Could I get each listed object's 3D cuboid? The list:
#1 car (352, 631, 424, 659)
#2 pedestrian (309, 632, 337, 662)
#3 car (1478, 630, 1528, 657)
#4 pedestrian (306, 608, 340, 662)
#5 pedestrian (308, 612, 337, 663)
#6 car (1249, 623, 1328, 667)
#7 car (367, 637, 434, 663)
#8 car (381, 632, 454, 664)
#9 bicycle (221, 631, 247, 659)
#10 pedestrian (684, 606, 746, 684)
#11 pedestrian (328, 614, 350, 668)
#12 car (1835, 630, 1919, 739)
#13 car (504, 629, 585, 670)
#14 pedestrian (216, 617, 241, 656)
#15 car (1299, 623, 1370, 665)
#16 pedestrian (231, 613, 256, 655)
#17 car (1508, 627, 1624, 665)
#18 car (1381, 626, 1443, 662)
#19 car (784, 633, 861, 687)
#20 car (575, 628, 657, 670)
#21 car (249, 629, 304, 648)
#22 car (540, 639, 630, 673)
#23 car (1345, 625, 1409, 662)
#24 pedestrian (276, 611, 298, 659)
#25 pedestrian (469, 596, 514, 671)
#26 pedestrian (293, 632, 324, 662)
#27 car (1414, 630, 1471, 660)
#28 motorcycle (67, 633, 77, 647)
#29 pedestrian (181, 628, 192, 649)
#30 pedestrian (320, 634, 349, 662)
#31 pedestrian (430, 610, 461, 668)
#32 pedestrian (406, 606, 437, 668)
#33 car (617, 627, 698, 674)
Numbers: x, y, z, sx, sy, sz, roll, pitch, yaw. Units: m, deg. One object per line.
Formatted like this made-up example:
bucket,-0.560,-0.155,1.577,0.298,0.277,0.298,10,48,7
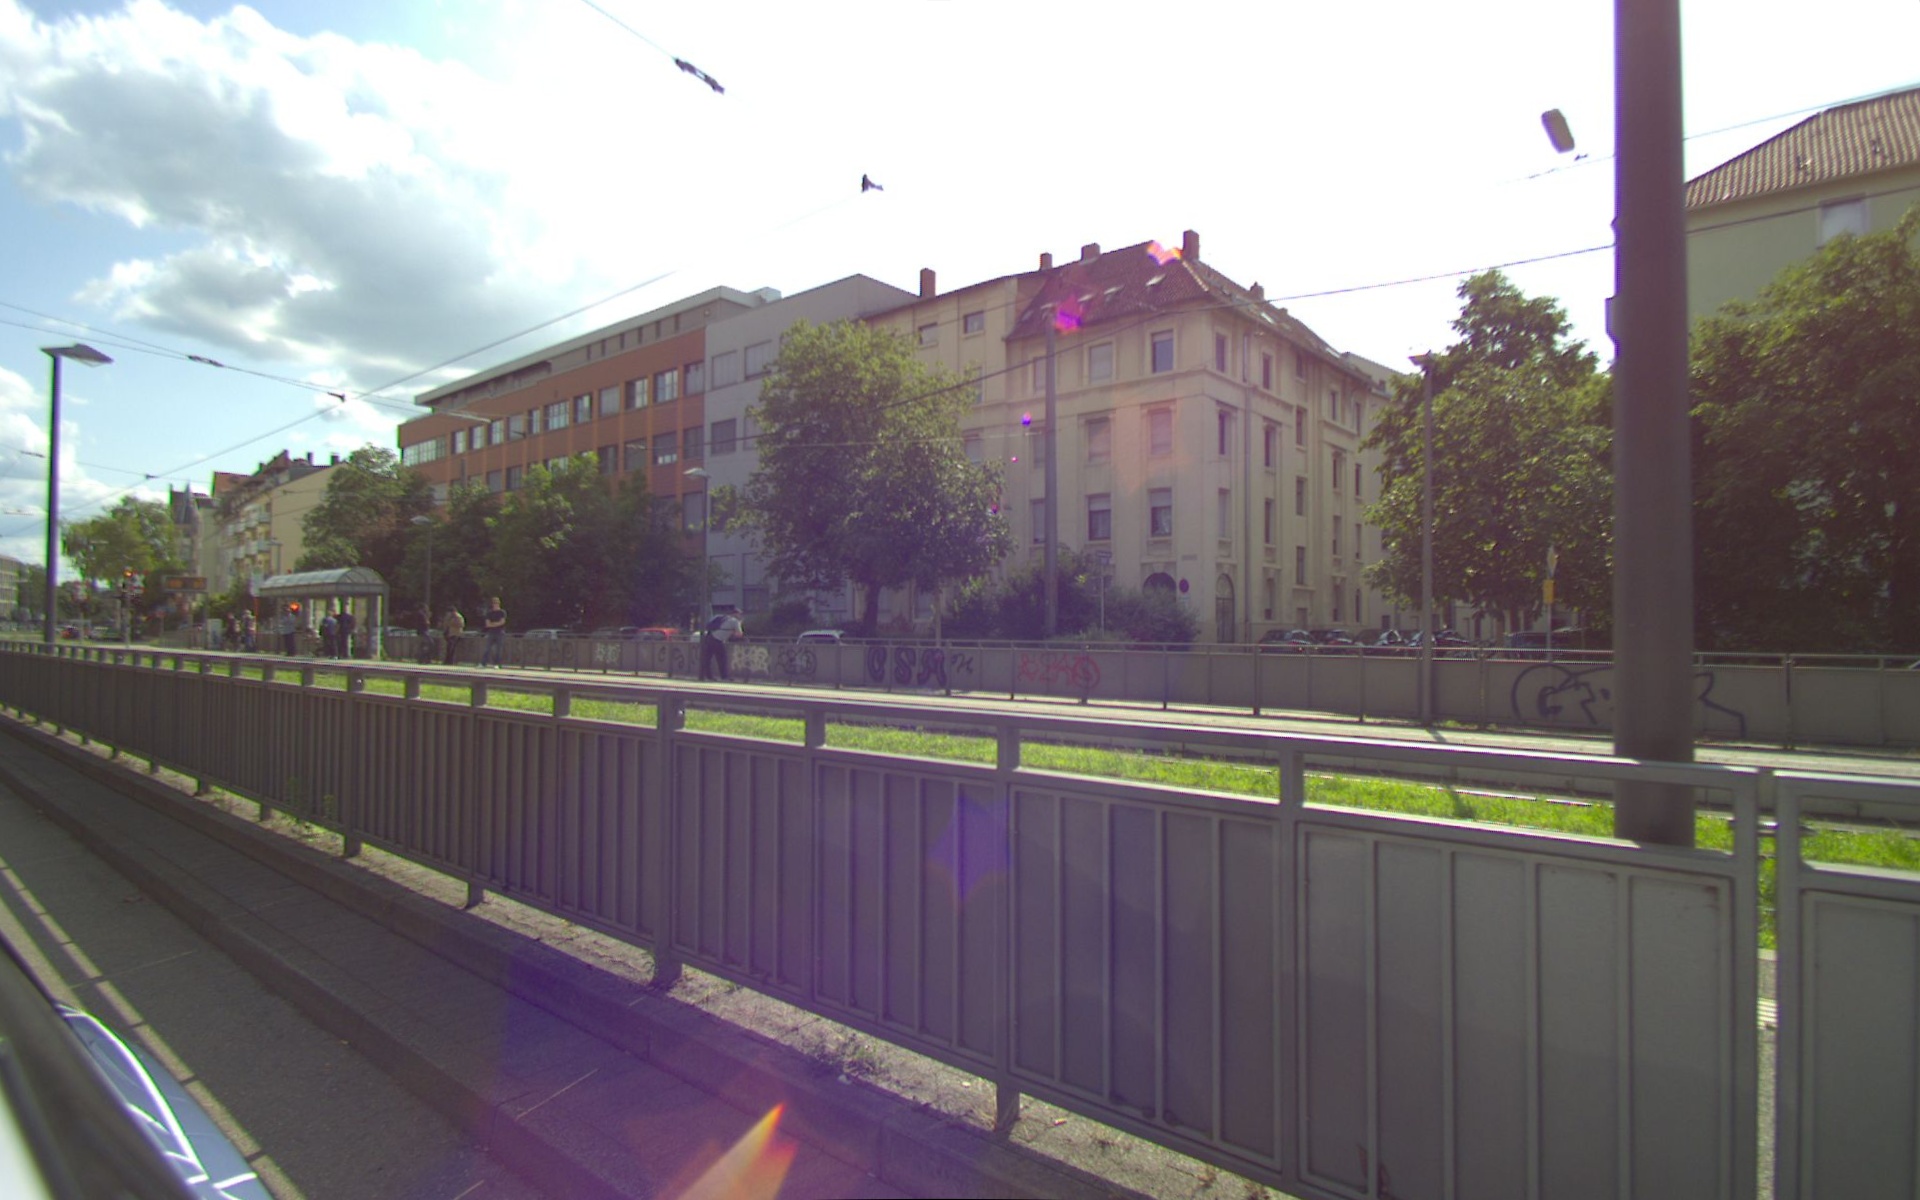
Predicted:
car,-31.902,2.518,56.554,1.629,1.508,3.996,0,-2,3
pedestrian,-23.217,1.714,36.866,0.562,1.039,0.647,4,-1,38
car,35.017,2.796,65.212,1.825,1.639,3.941,-1,-3,45
pedestrian,-21.204,1.162,33.687,1.035,1.756,0.626,-1,-2,38
pedestrian,-20.949,1.224,33.272,0.556,1.645,0.593,-1,-3,26
car,13.812,1.882,42.432,1.823,1.746,3.946,-1,-3,40
car,-29.609,2.620,53.682,1.583,1.314,3.247,0,-2,5
car,-27.499,2.413,51.422,1.567,1.431,3.302,-1,0,10
bicycle,-30.073,1.841,41.890,0.653,1.122,1.880,4,-4,-41
pedestrian,-5.185,0.940,21.424,0.797,1.590,0.979,-1,-2,37
pedestrian,-21.507,1.403,35.047,0.623,1.841,0.438,-1,-2,38
car,15.535,1.265,14.950,1.803,1.652,3.996,-1,-2,3
car,-18.052,2.134,44.163,1.651,1.540,3.996,-1,0,4
pedestrian,-33.117,1.654,45.803,0.797,1.712,0.659,-1,-2,38
car,17.214,2.023,46.419,1.823,1.845,3.946,-1,-3,40
pedestrian,-29.744,1.408,42.012,0.797,1.737,0.632,-1,-2,38
car,27.038,2.047,45.259,3.949,1.630,1.870,0,-2,5
car,24.464,2.387,54.708,1.824,1.845,3.942,-1,-3,44
car,-4.295,1.847,32.146,1.899,1.576,4.153,1,-2,0
car,-13.688,1.924,40.491,1.590,1.580,3.992,-1,-2,6
car,-56.852,3.229,84.166,3.558,1.491,1.776,2,-6,-43
car,-15.771,2.341,42.813,1.773,1.159,3.986,-1,0,11
car,20.716,2.160,50.230,1.823,1.731,3.946,-1,-3,40
pedestrian,-24.923,1.294,37.476,0.623,1.739,0.481,-1,-2,39
pedestrian,-12.355,0.884,26.687,0.639,1.906,0.742,1,-4,43
pedestrian,-23.594,1.707,36.648,0.623,1.039,0.713,-1,-4,38
car,27.854,2.616,58.400,1.824,1.615,3.942,-1,-3,44
motorcycle,-93.422,4.163,106.475,2.010,1.414,0.626,-1,0,43
pedestrian,-64.390,3.222,84.216,0.481,1.723,0.641,-2,-3,41
pedestrian,-22.216,1.707,35.960,0.562,1.002,0.698,-1,-4,37
pedestrian,-15.396,1.162,30.303,0.624,1.687,0.600,-1,-2,40
pedestrian,-15.802,1.081,29.700,0.599,1.767,0.626,1,-1,-9
car,-11.468,1.879,38.637,1.809,1.652,4.135,1,-2,1
